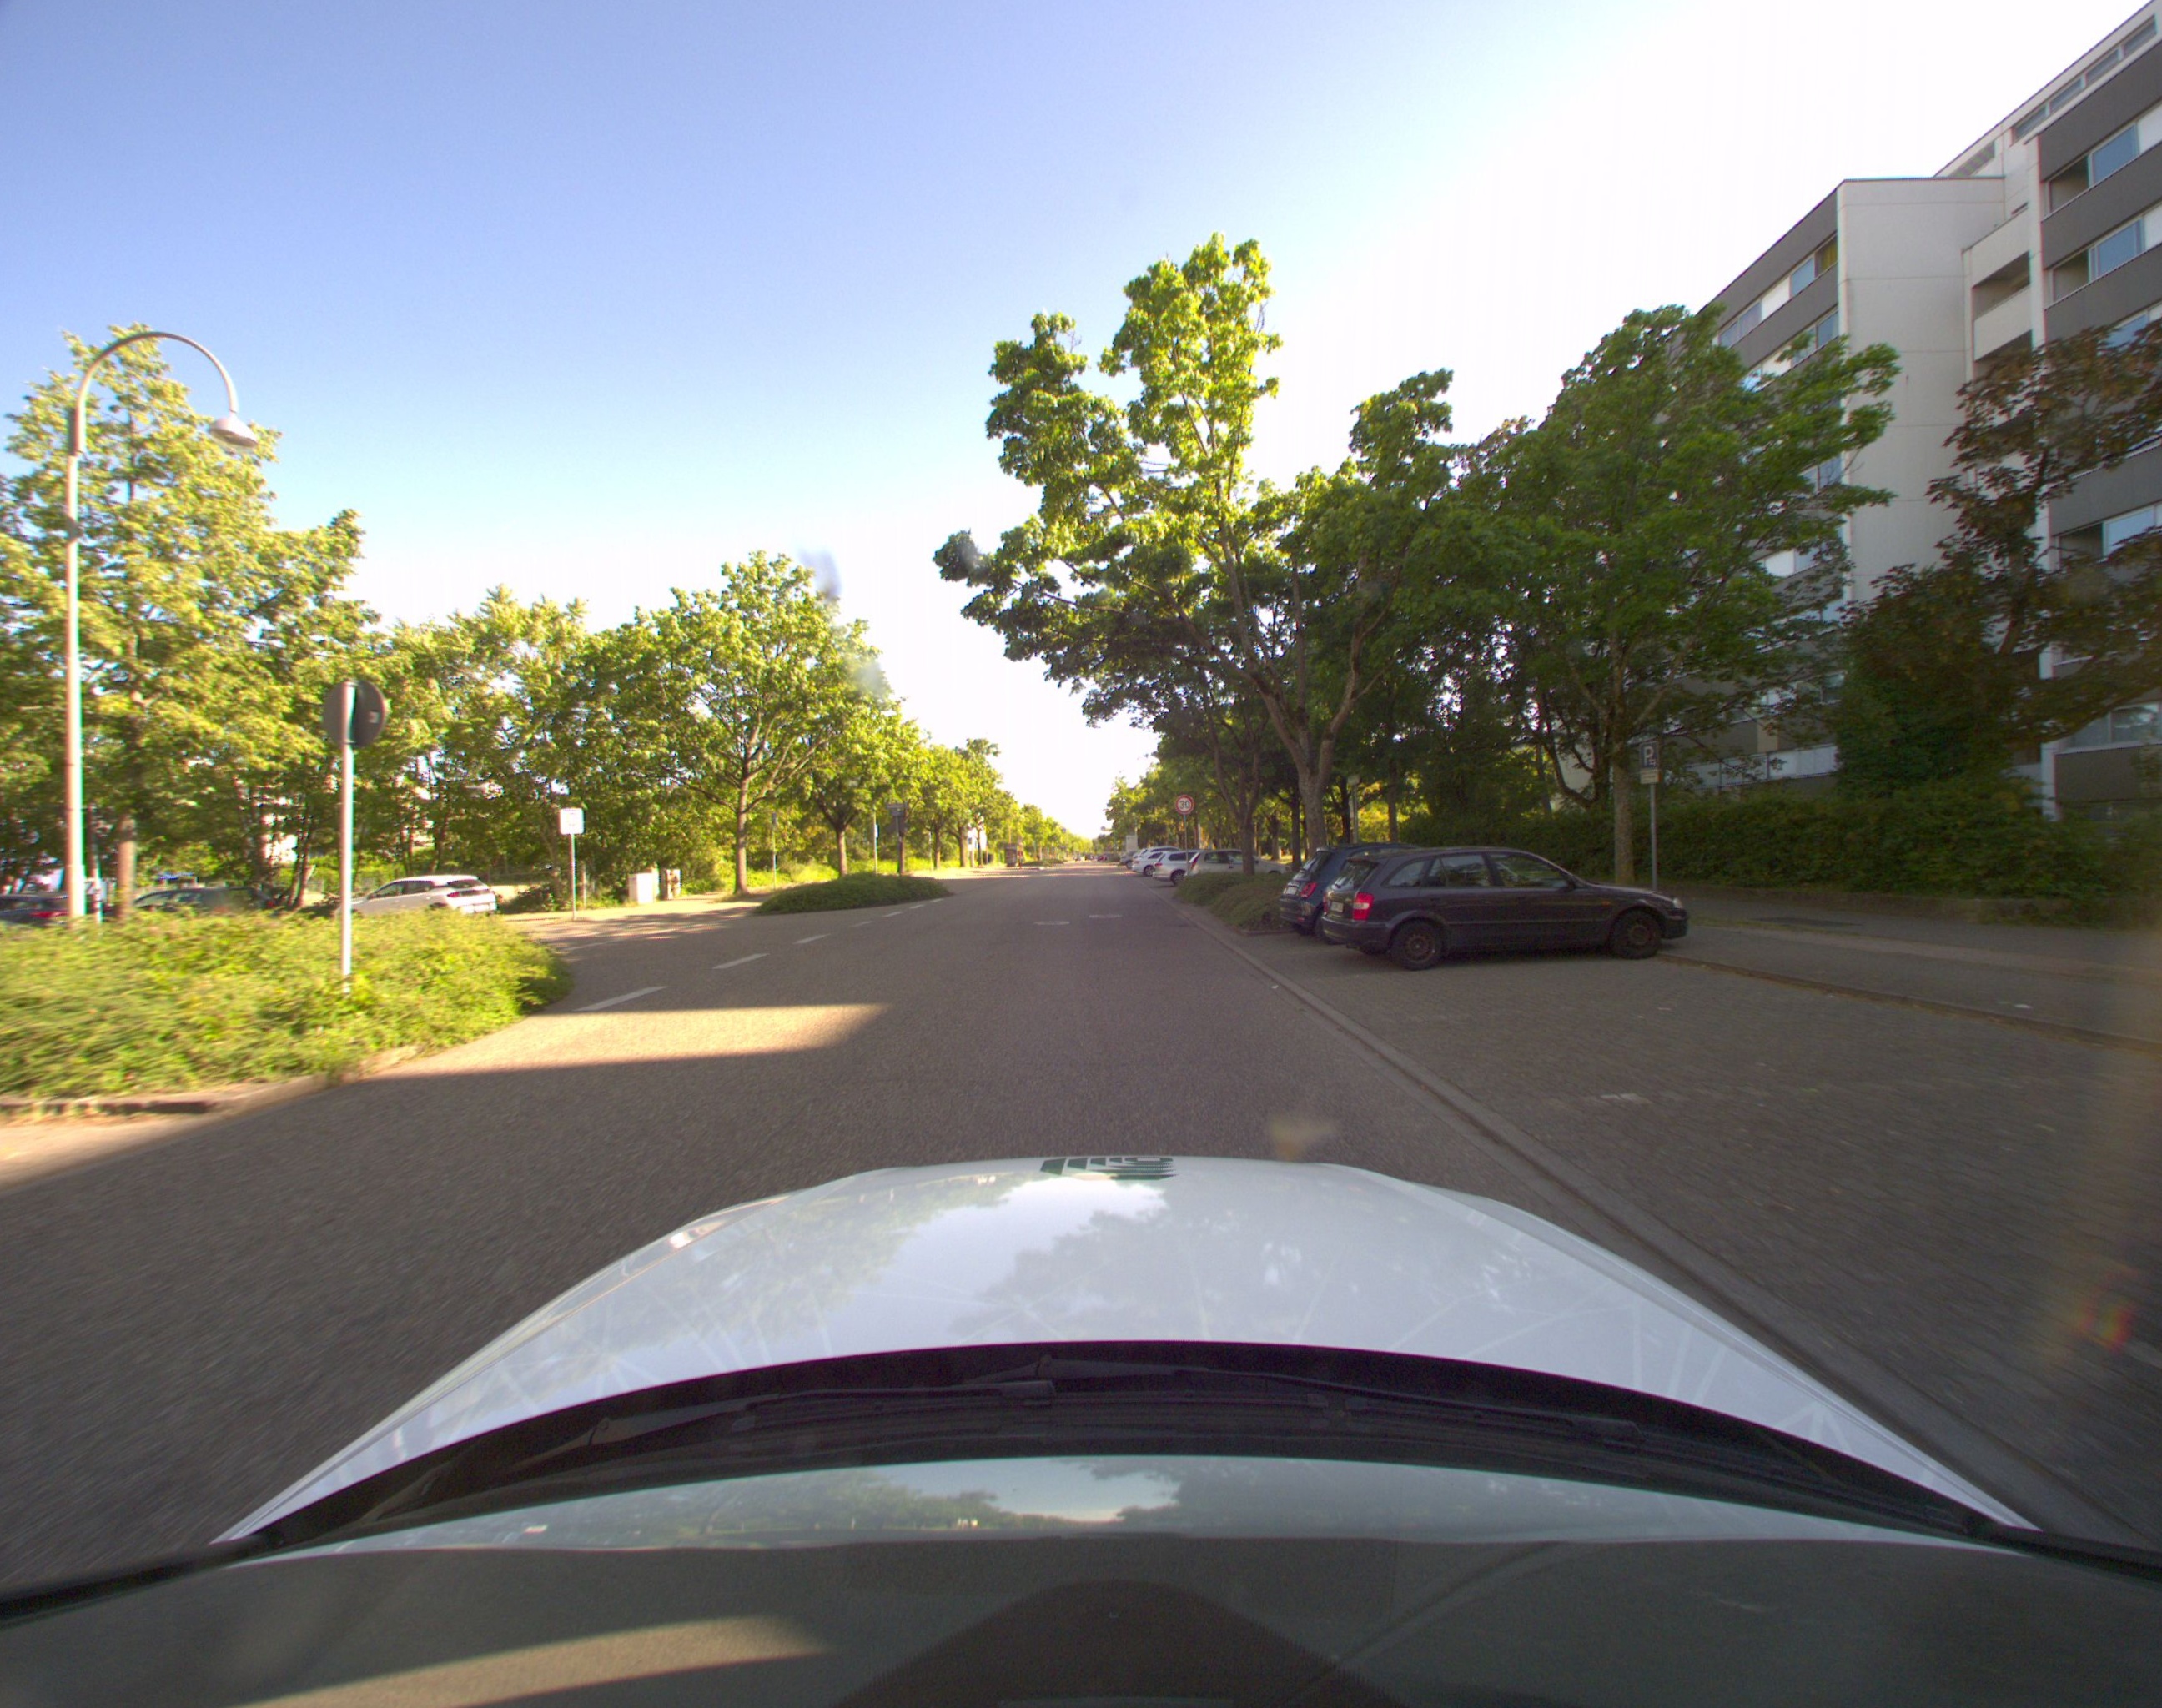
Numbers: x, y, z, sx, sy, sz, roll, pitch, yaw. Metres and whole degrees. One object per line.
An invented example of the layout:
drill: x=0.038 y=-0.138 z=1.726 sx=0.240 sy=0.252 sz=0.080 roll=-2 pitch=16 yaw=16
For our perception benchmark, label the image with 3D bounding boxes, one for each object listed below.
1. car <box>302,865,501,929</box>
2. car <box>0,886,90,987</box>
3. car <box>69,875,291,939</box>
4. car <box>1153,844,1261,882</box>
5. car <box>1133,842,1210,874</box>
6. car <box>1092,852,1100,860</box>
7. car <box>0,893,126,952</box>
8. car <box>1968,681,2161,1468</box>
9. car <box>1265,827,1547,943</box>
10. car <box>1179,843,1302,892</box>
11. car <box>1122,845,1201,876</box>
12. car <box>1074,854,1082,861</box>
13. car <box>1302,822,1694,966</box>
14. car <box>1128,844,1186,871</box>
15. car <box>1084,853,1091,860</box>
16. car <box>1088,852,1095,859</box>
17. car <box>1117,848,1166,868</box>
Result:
car: x=-18.562 y=1.156 z=22.368 sx=4.061 sy=1.451 sz=1.625 roll=-3 pitch=0 yaw=2
car: x=-20.035 y=1.487 z=13.748 sx=4.308 sy=1.619 sz=1.894 roll=-3 pitch=0 yaw=2
car: x=-24.849 y=1.428 z=22.565 sx=4.041 sy=1.472 sz=1.831 roll=-2 pitch=0 yaw=0
car: x=5.134 y=0.376 z=33.530 sx=4.254 sy=1.428 sz=1.830 roll=-1 pitch=0 yaw=5
car: x=5.524 y=0.220 z=50.165 sx=4.422 sy=1.647 sz=1.815 roll=-4 pitch=0 yaw=-1
car: x=3.843 y=0.453 z=211.542 sx=1.986 sy=2.013 sz=4.001 roll=-1 pitch=0 yaw=1
car: x=-29.613 y=1.929 z=22.464 sx=4.412 sy=1.437 sz=1.681 roll=-2 pitch=0 yaw=-1
car: x=4.678 y=0.389 z=1.159 sx=4.571 sy=1.779 sz=2.000 roll=-3 pitch=0 yaw=1
car: x=5.103 y=0.455 z=13.106 sx=3.799 sy=1.499 sz=1.700 roll=-4 pitch=0 yaw=-3
car: x=5.547 y=0.442 z=28.725 sx=3.973 sy=1.451 sz=1.717 roll=-3 pitch=0 yaw=1
car: x=4.652 y=0.375 z=47.469 sx=4.330 sy=1.489 sz=1.737 roll=-4 pitch=0 yaw=-1
car: x=-0.770 y=0.784 z=196.793 sx=1.822 sy=1.775 sz=3.741 roll=-1 pitch=0 yaw=1
car: x=5.065 y=0.456 z=10.323 sx=3.973 sy=1.387 sz=1.822 roll=-4 pitch=0 yaw=0
car: x=5.099 y=0.208 z=55.060 sx=3.678 sy=1.522 sz=1.650 roll=-4 pitch=0 yaw=-1
car: x=1.806 y=0.734 z=228.698 sx=1.986 sy=2.013 sz=4.001 roll=-1 pitch=0 yaw=1
car: x=3.124 y=0.472 z=247.153 sx=1.986 sy=2.013 sz=4.001 roll=-1 pitch=0 yaw=1
car: x=5.316 y=0.358 z=71.834 sx=4.150 sy=1.428 sz=2.000 roll=-4 pitch=0 yaw=0
